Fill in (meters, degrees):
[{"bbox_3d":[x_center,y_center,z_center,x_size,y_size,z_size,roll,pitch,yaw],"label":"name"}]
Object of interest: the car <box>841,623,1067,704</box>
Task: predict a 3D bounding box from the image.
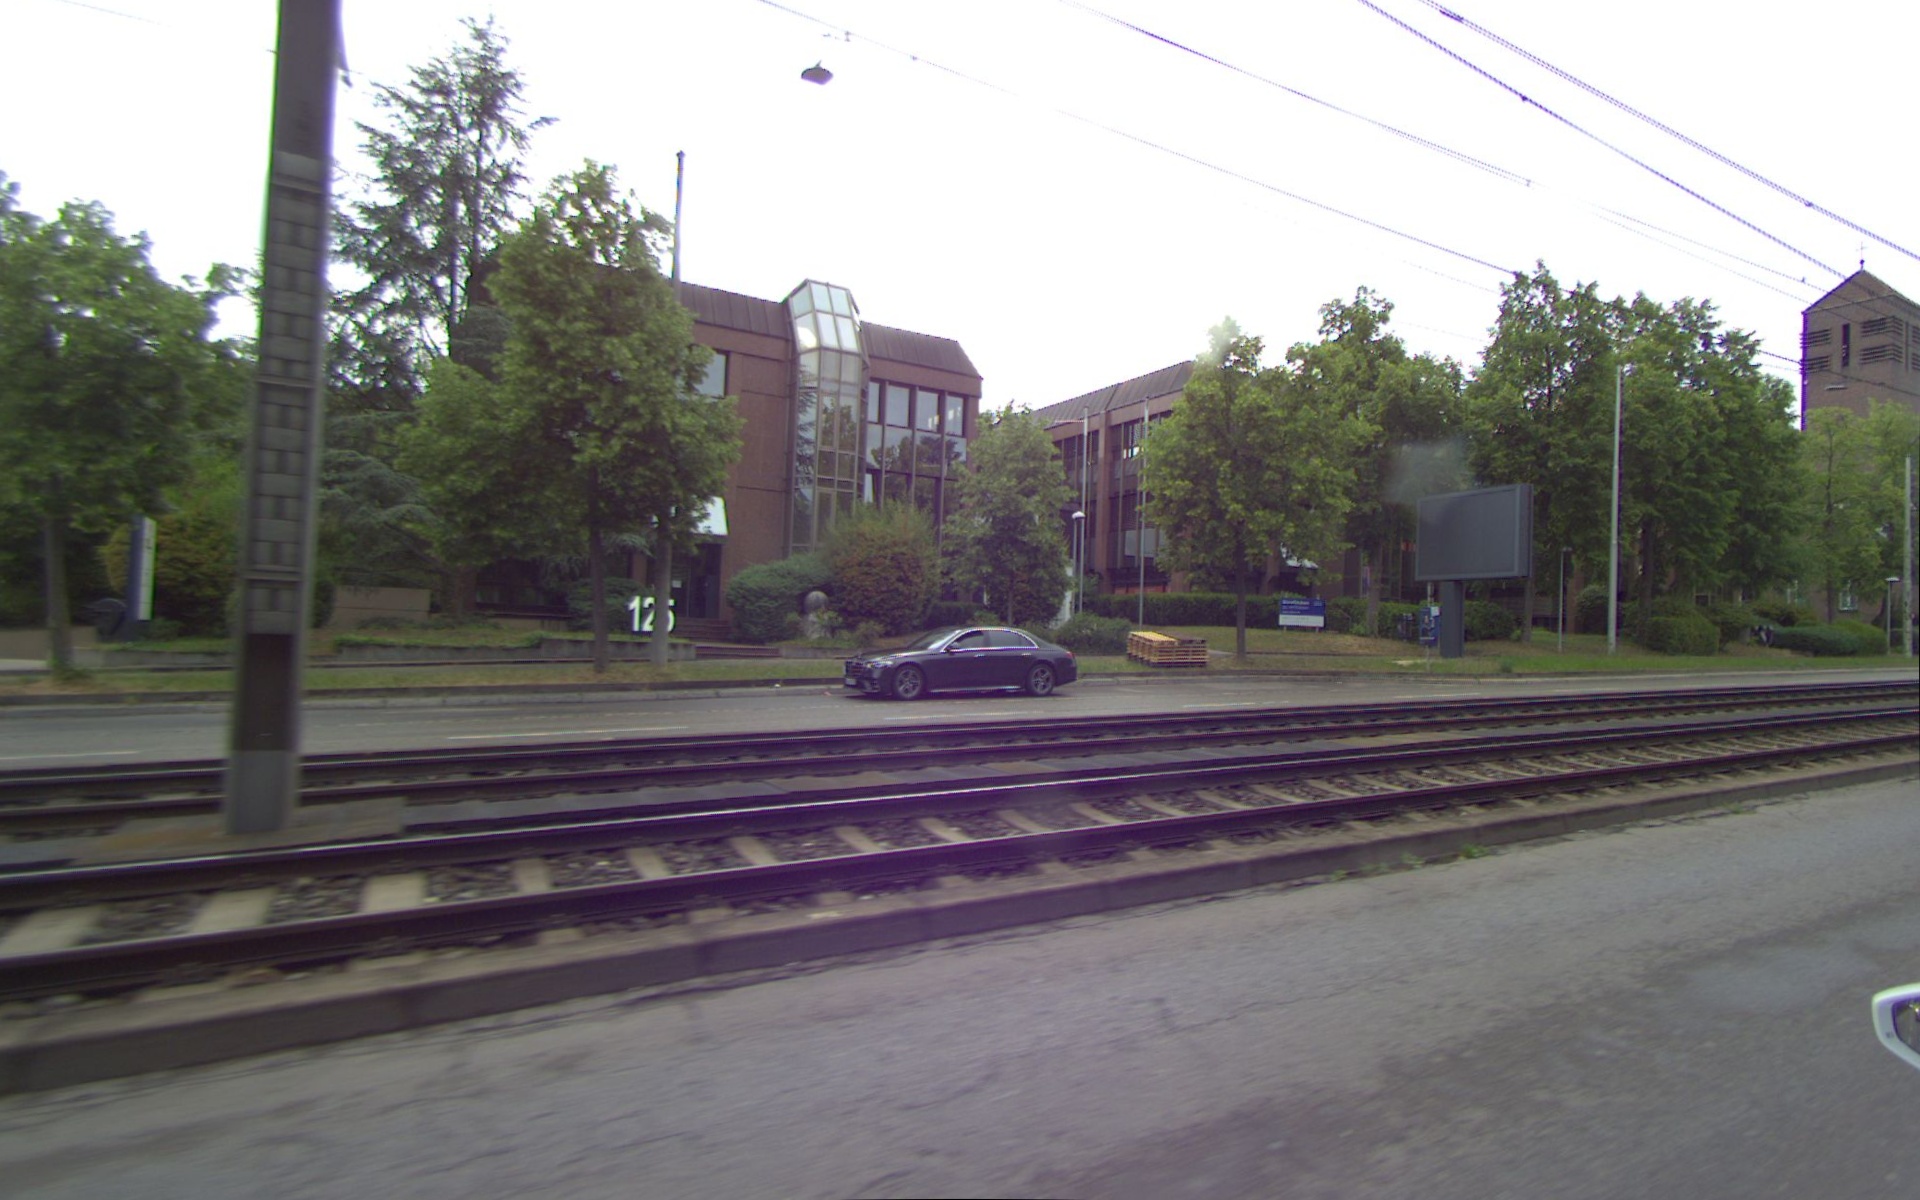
[{"bbox_3d":[-0.083,1.280,21.372,4.569,1.550,1.786,1,-1,-31],"label":"car"}]
